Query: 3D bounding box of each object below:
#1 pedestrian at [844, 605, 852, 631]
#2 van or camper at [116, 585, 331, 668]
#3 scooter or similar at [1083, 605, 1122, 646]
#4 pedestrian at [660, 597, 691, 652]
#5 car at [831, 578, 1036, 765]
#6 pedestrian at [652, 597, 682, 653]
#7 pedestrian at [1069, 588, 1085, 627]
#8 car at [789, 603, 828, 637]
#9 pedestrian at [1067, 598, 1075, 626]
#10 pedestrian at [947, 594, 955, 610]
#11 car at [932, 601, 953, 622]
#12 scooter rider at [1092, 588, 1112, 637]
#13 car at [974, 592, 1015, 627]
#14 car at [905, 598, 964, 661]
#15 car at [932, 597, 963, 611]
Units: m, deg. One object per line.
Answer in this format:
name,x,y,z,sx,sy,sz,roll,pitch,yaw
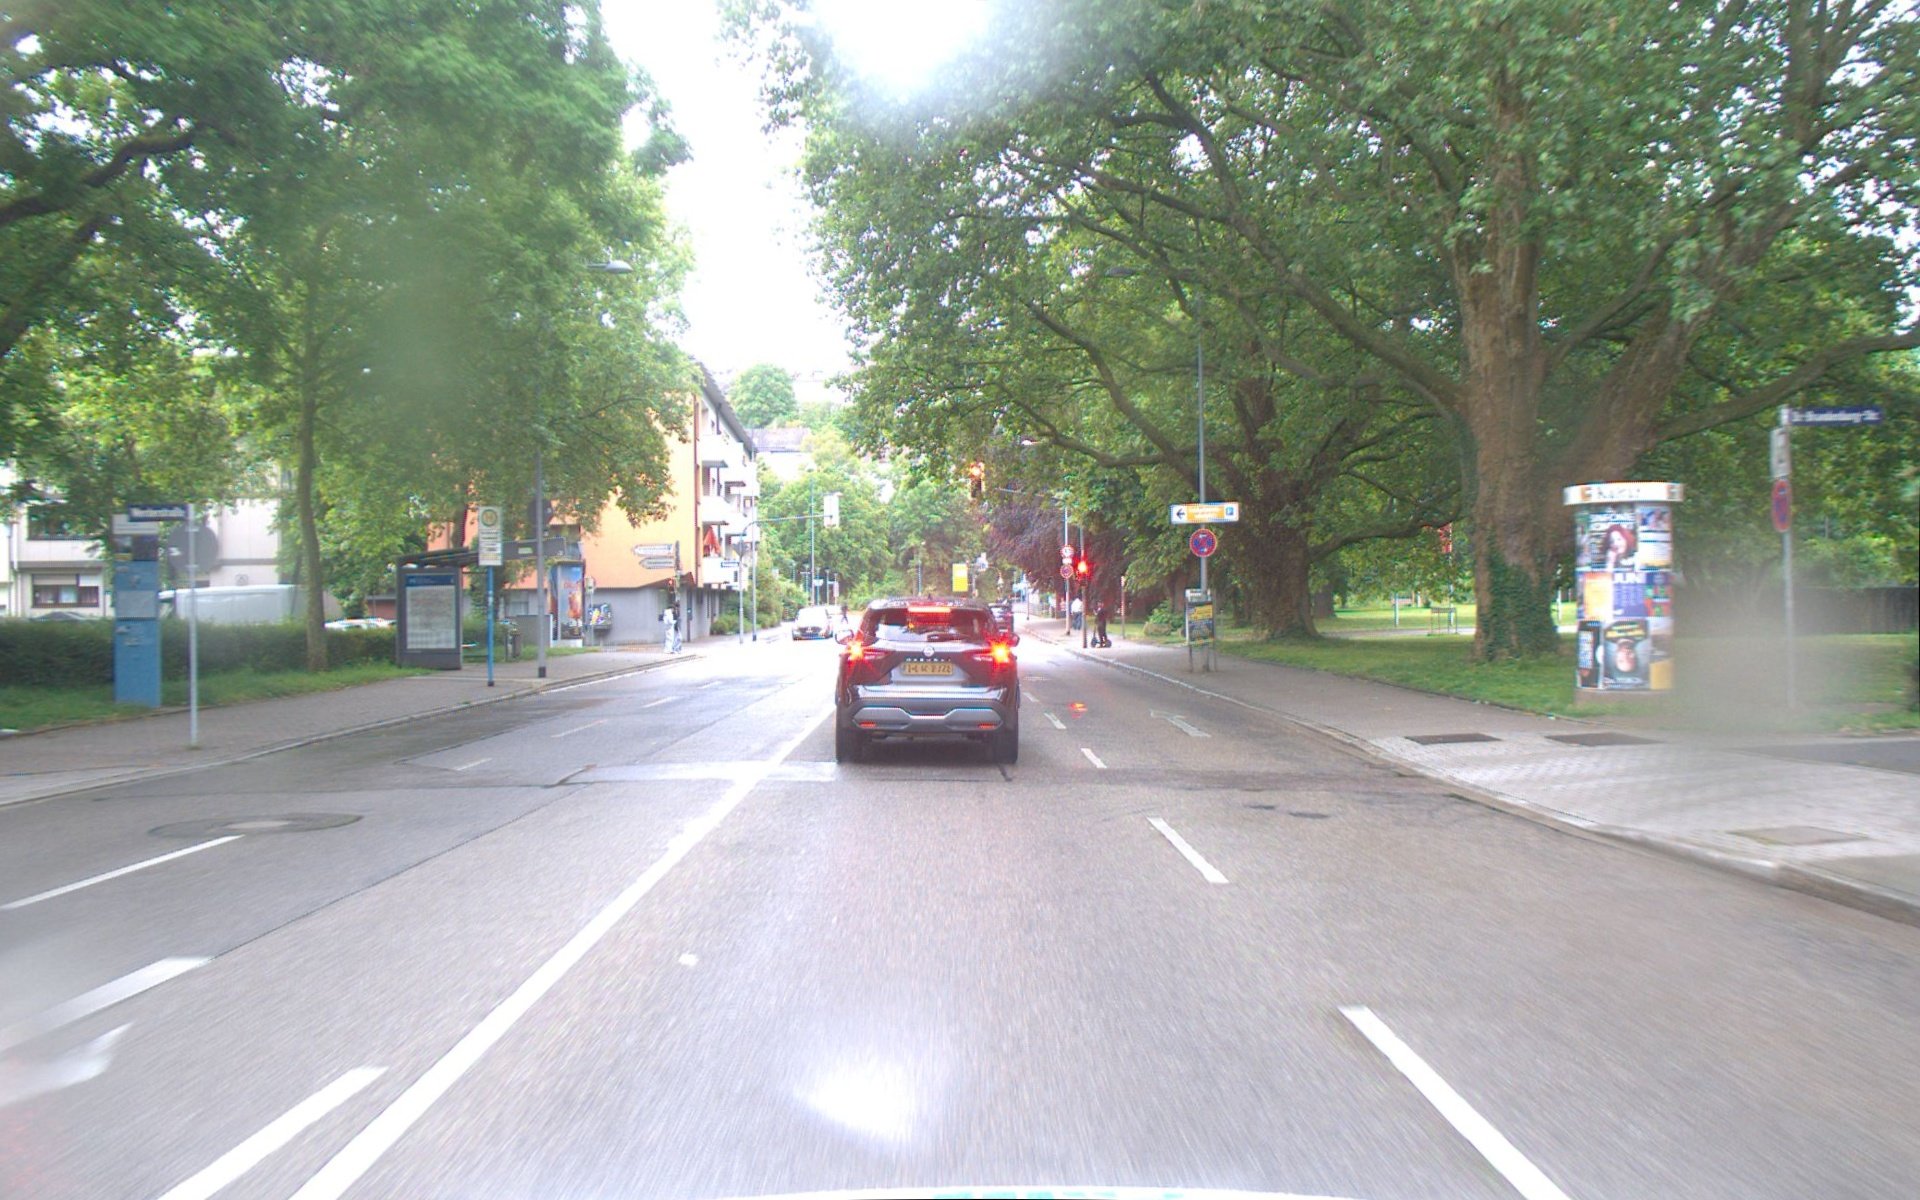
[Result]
pedestrian,-7.834,1.243,115.762,0.498,1.833,0.619,-1,0,-1
van or camper,-18.546,0.658,41.819,4.504,1.983,1.999,-1,0,-3
scooter or similar,5.266,0.943,61.127,1.364,1.471,0.818,-1,-1,11
pedestrian,-9.994,0.871,58.114,1.017,1.909,0.656,0,-1,-13
car,-0.272,0.669,17.341,1.874,1.709,3.999,1,0,-1
pedestrian,-10.159,0.858,57.360,1.017,1.909,0.656,0,-1,-13
pedestrian,6.130,0.384,86.881,0.710,2.049,0.851,-1,0,-1
car,-7.243,0.948,79.336,1.760,1.560,3.864,-2,0,-4
pedestrian,6.115,0.637,91.401,0.382,1.528,0.559,-1,0,-1
pedestrian,-0.949,0.195,172.420,0.498,1.702,0.658,-2,0,27
car,-1.379,0.900,130.631,1.601,1.559,3.966,-1,0,-1
scooter rider,5.259,0.476,61.143,0.629,1.797,0.736,-1,-2,11
car,1.868,0.521,88.379,1.952,1.765,4.002,2,-1,4
car,-0.769,0.855,49.662,1.664,1.776,3.640,-1,0,-1
car,-1.589,0.510,207.907,3.906,1.697,1.701,2,-1,-2
